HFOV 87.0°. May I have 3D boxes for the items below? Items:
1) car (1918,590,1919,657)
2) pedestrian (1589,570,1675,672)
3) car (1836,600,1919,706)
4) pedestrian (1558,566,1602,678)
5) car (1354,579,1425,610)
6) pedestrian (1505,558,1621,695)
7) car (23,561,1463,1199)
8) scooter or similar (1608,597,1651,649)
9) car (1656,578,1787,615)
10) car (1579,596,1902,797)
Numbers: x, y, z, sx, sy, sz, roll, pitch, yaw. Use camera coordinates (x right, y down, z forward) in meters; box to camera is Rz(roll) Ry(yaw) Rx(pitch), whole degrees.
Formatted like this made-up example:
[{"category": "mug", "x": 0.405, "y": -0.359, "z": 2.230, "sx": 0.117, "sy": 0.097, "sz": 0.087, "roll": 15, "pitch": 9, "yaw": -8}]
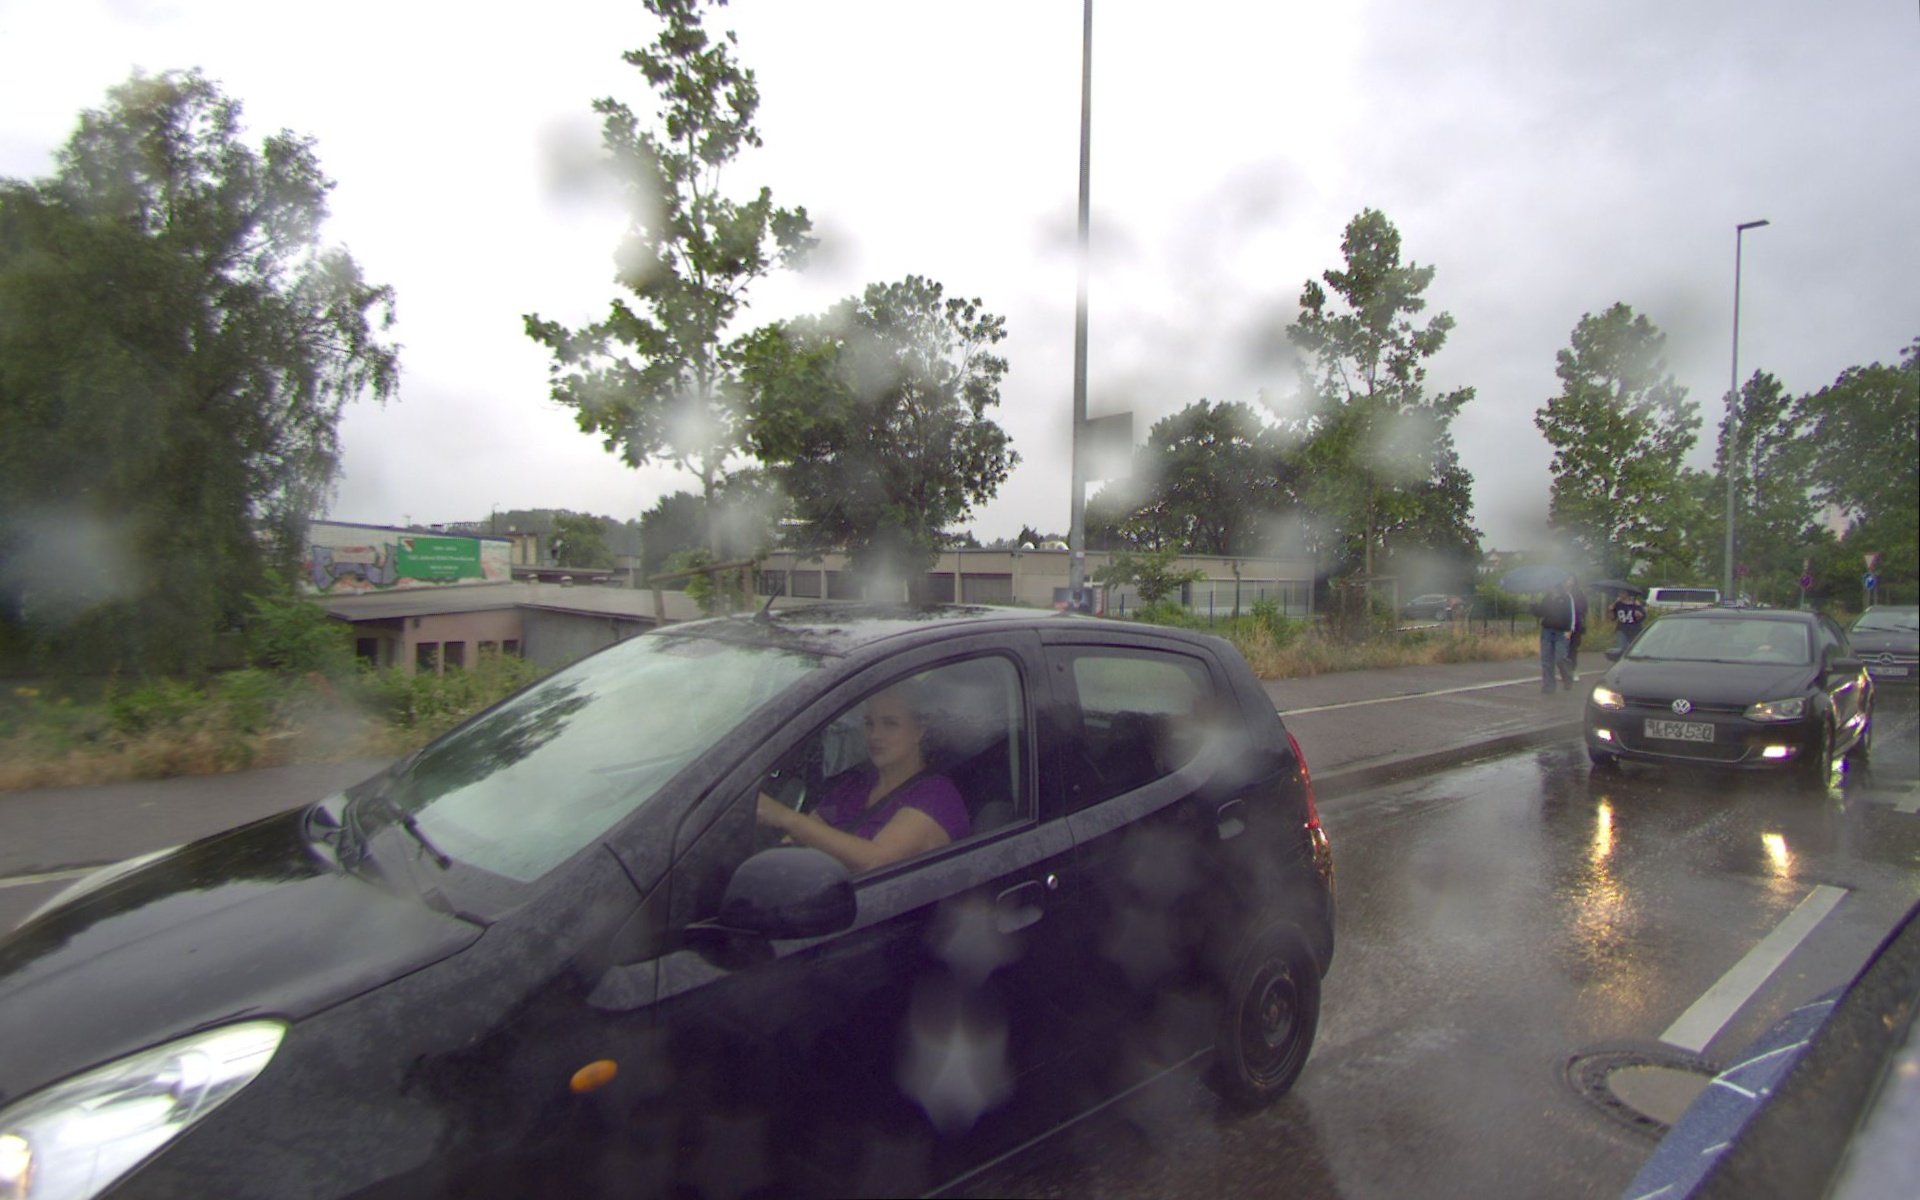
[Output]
[{"category": "car", "x": 23.165, "y": 0.499, "z": 22.966, "sx": 4.051, "sy": 1.488, "sz": 1.702, "roll": -1, "pitch": 1, "yaw": -41}, {"category": "pedestrian", "x": 12.072, "y": 0.349, "z": 18.190, "sx": 0.876, "sy": 1.729, "sz": 1.025, "roll": -1, "pitch": 3, "yaw": -41}, {"category": "car", "x": 16.245, "y": 0.827, "z": 17.023, "sx": 3.746, "sy": 1.594, "sz": 1.697, "roll": -1, "pitch": 1, "yaw": -40}, {"category": "pedestrian", "x": 9.614, "y": 0.329, "z": 15.695, "sx": 0.433, "sy": 1.682, "sz": 0.401, "roll": -1, "pitch": 3, "yaw": -41}, {"category": "car", "x": 29.483, "y": -0.393, "z": 69.547, "sx": 1.963, "sy": 2.039, "sz": 3.997, "roll": -1, "pitch": 1, "yaw": -37}, {"category": "pedestrian", "x": 8.322, "y": 0.329, "z": 13.972, "sx": 0.952, "sy": 1.777, "sz": 1.081, "roll": -1, "pitch": 3, "yaw": -41}, {"category": "car", "x": -0.174, "y": 0.680, "z": 2.864, "sx": 3.560, "sy": 1.447, "sz": 1.631, "roll": 0, "pitch": 0, "yaw": -41}, {"category": "scooter or similar", "x": 15.602, "y": 0.517, "z": 23.567, "sx": 1.747, "sy": 1.144, "sz": 0.380, "roll": -1, "pitch": 2, "yaw": -42}, {"category": "car", "x": 36.362, "y": -0.166, "z": 48.429, "sx": 1.966, "sy": 1.670, "sz": 4.754, "roll": -1, "pitch": 1, "yaw": -41}, {"category": "car", "x": 7.100, "y": 0.696, "z": 9.091, "sx": 3.560, "sy": 1.447, "sz": 1.631, "roll": 0, "pitch": 0, "yaw": -41}]
